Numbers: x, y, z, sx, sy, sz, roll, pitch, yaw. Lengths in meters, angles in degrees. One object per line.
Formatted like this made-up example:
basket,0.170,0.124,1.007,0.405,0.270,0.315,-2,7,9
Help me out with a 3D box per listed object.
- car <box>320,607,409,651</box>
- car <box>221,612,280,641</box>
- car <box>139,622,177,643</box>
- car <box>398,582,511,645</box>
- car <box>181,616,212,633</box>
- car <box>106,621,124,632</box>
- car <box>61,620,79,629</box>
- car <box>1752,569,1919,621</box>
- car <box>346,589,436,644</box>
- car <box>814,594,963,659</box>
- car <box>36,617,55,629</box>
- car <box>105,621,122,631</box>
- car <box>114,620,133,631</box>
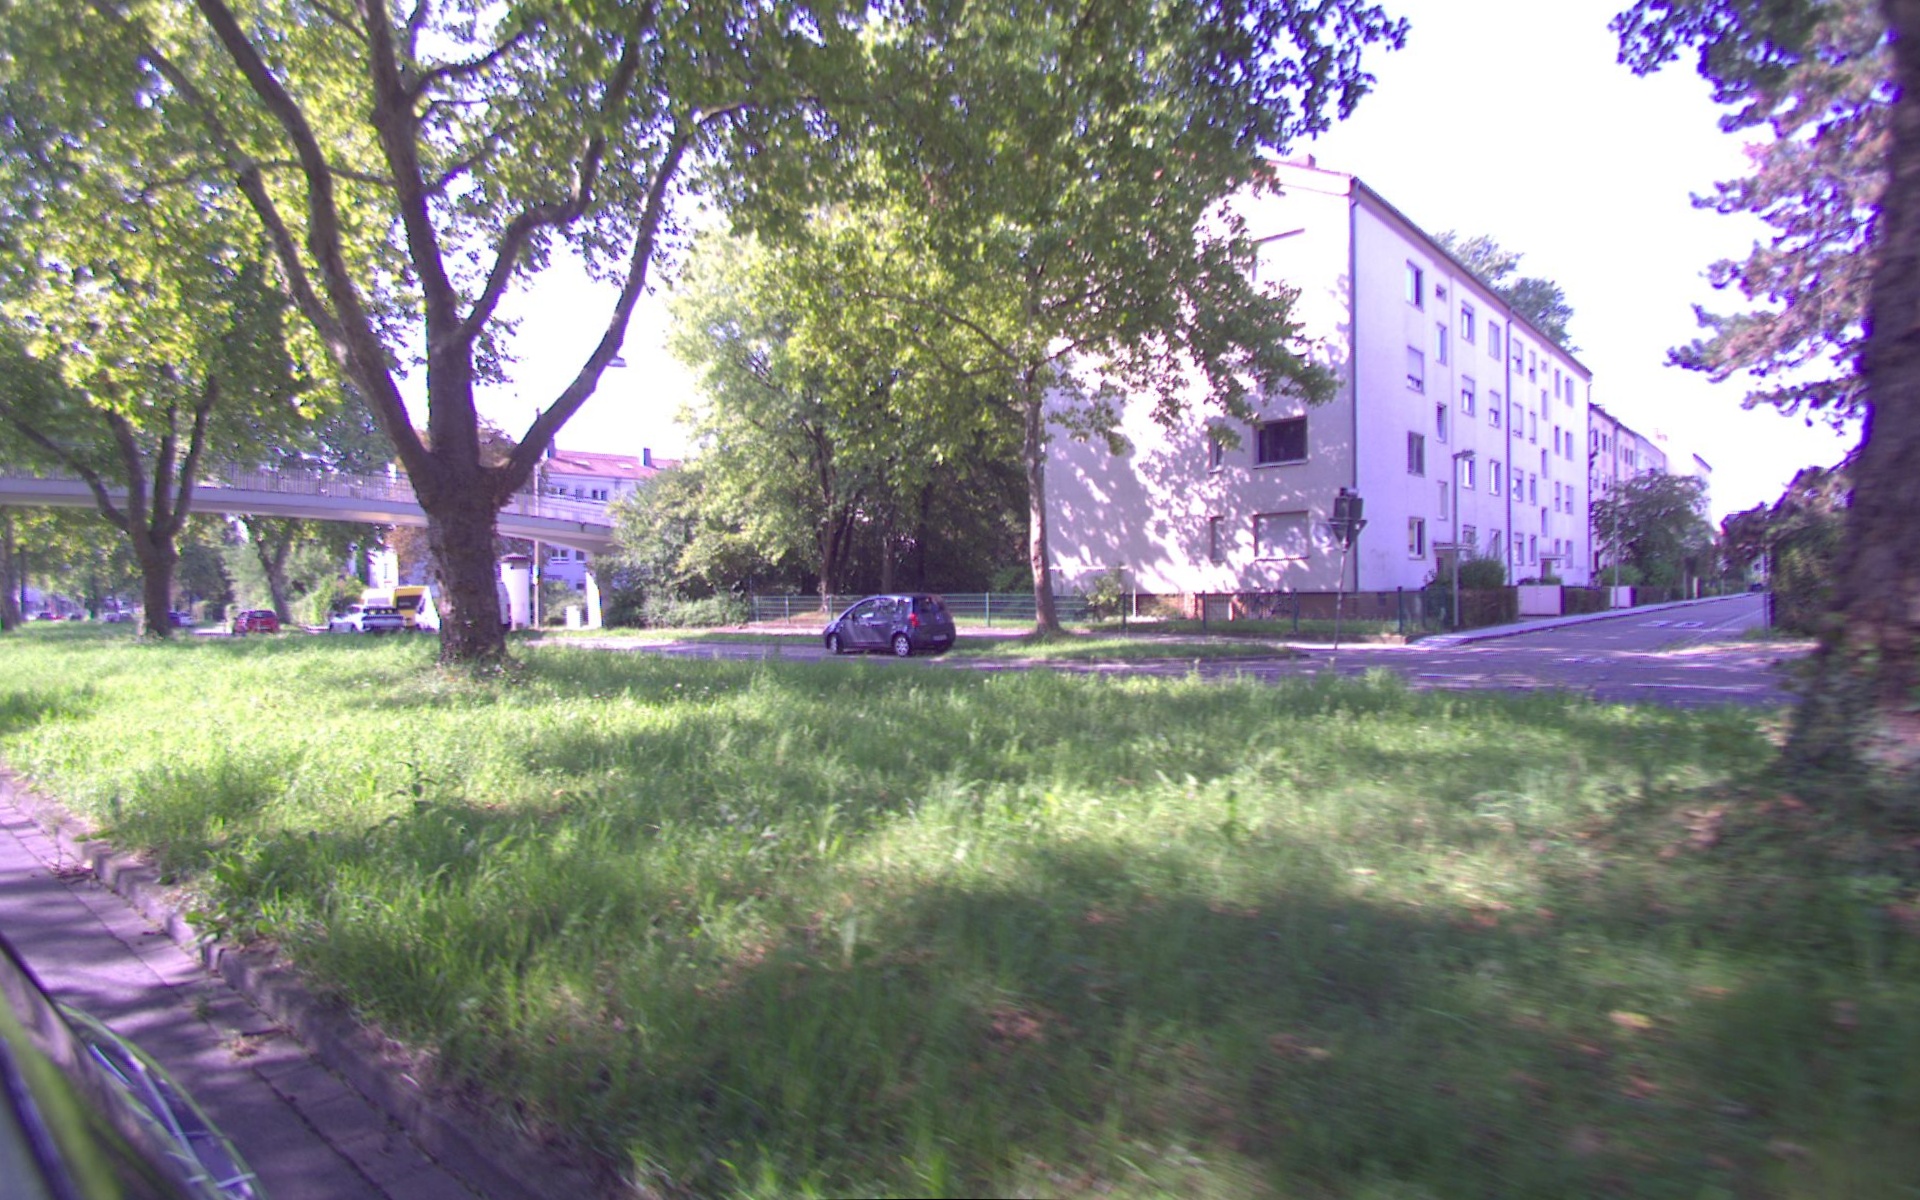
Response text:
car,-24.872,1.192,42.208,4.717,1.733,1.783,-1,-1,41
car,-39.791,1.460,56.725,4.066,1.544,1.674,-1,0,40
car,-63.018,2.527,79.511,4.457,1.544,1.768,-1,1,44
car,-21.988,0.570,43.870,6.264,2.448,2.184,-1,3,42
car,-69.798,2.236,92.505,3.900,1.490,1.627,-1,1,45
car,-112.672,3.553,134.891,1.590,1.301,3.526,-2,1,-43
car,-132.611,3.646,150.732,3.899,1.374,1.627,-2,0,44
car,26.709,-0.147,30.377,4.452,1.482,1.823,-1,1,45
car,-27.843,0.766,49.431,6.063,2.498,2.183,-1,1,45
car,-1.880,0.633,26.004,3.861,1.544,1.507,0,0,40
car,-136.671,3.399,151.230,4.858,1.628,1.755,-1,1,45
car,-116.232,3.571,138.973,1.590,1.417,3.526,-1,0,-43
car,-104.933,3.164,126.891,1.590,1.301,3.526,-2,1,-43
